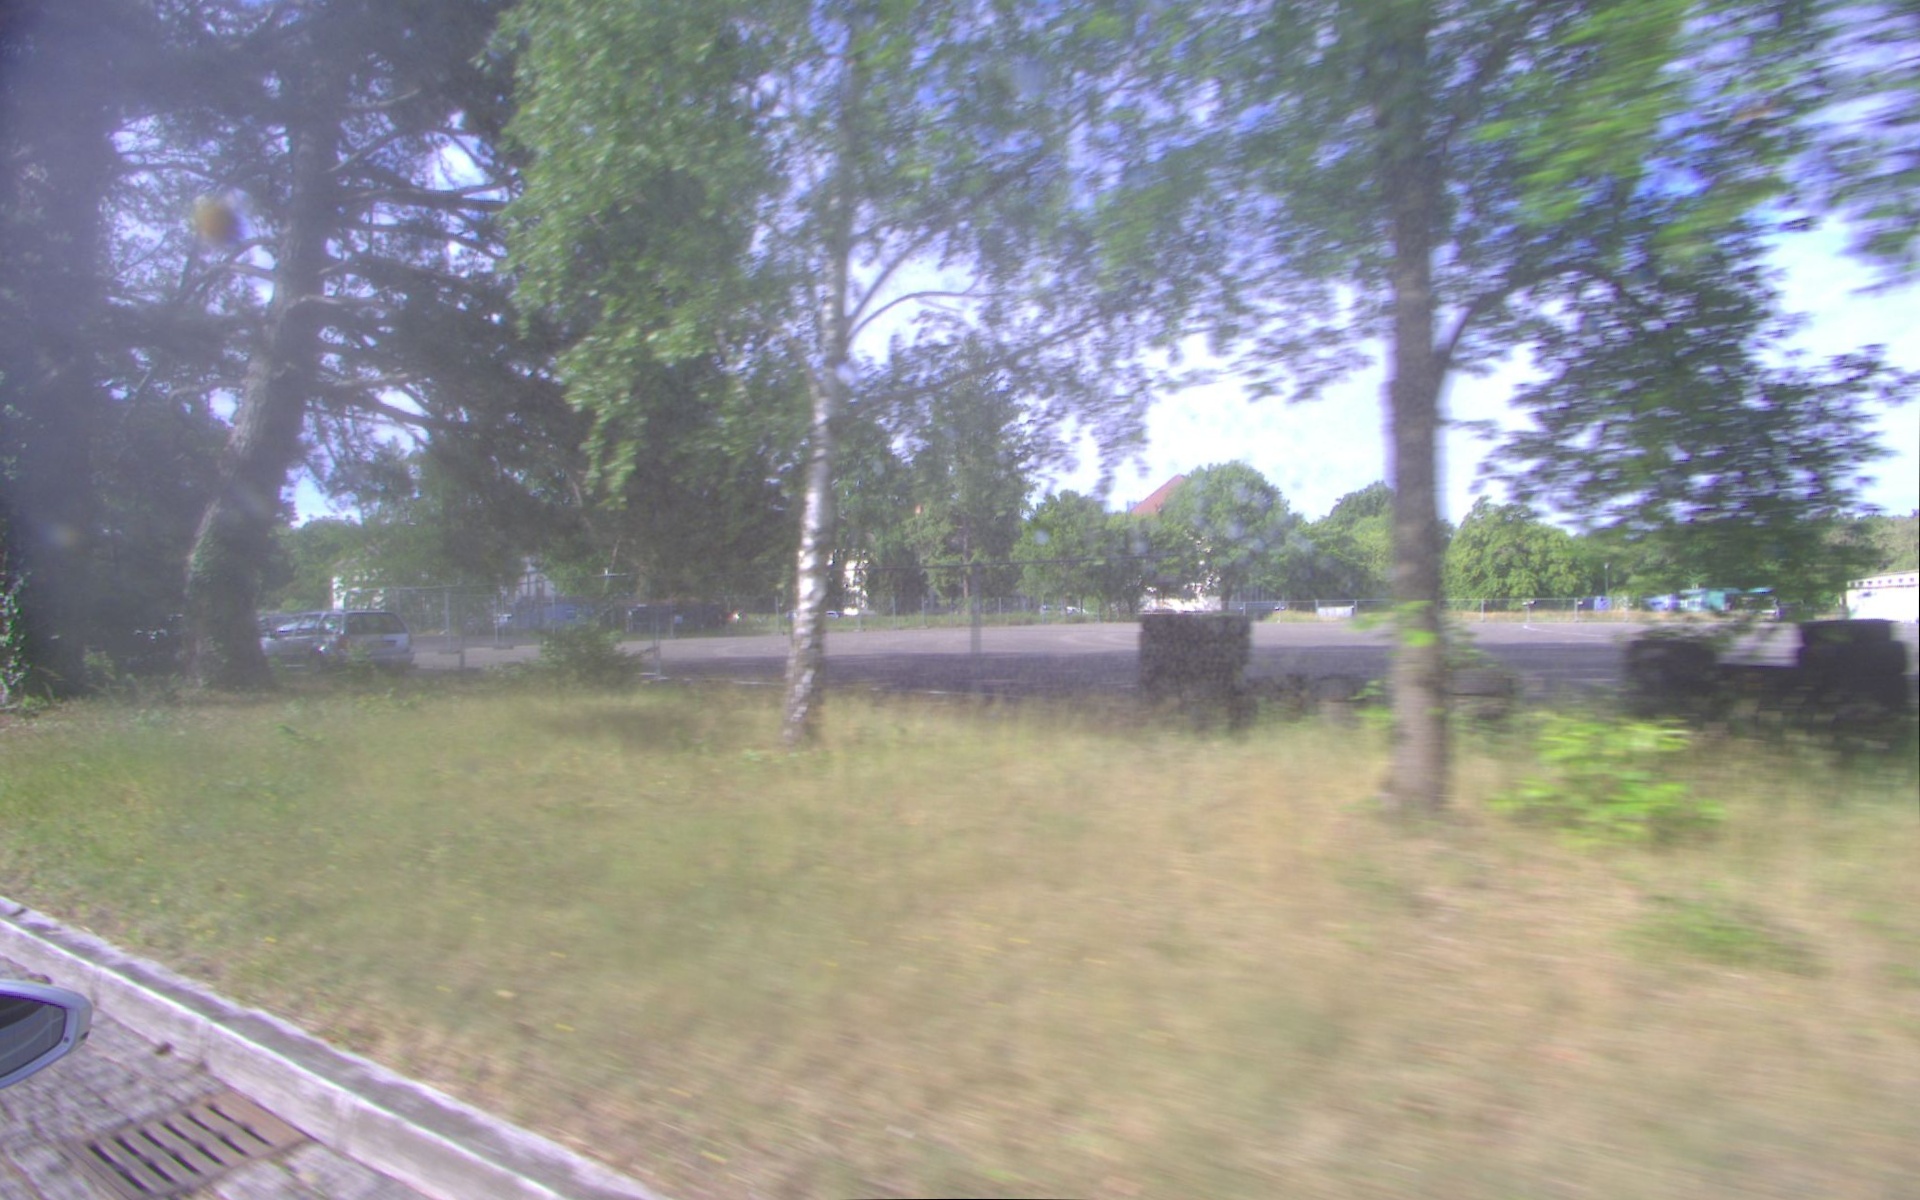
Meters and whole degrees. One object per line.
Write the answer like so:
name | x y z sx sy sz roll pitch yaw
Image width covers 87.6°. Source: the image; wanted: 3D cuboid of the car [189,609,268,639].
car | -38.153 1.252 52.219 4.266 1.496 1.729 -1 0 29

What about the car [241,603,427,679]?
car | -13.370 0.823 21.362 3.939 1.487 1.665 -1 0 29

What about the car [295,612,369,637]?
car | -35.794 1.371 57.064 4.266 1.329 1.729 -1 0 29

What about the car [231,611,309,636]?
car | -37.326 1.263 54.139 4.265 1.329 1.730 -1 -2 29
